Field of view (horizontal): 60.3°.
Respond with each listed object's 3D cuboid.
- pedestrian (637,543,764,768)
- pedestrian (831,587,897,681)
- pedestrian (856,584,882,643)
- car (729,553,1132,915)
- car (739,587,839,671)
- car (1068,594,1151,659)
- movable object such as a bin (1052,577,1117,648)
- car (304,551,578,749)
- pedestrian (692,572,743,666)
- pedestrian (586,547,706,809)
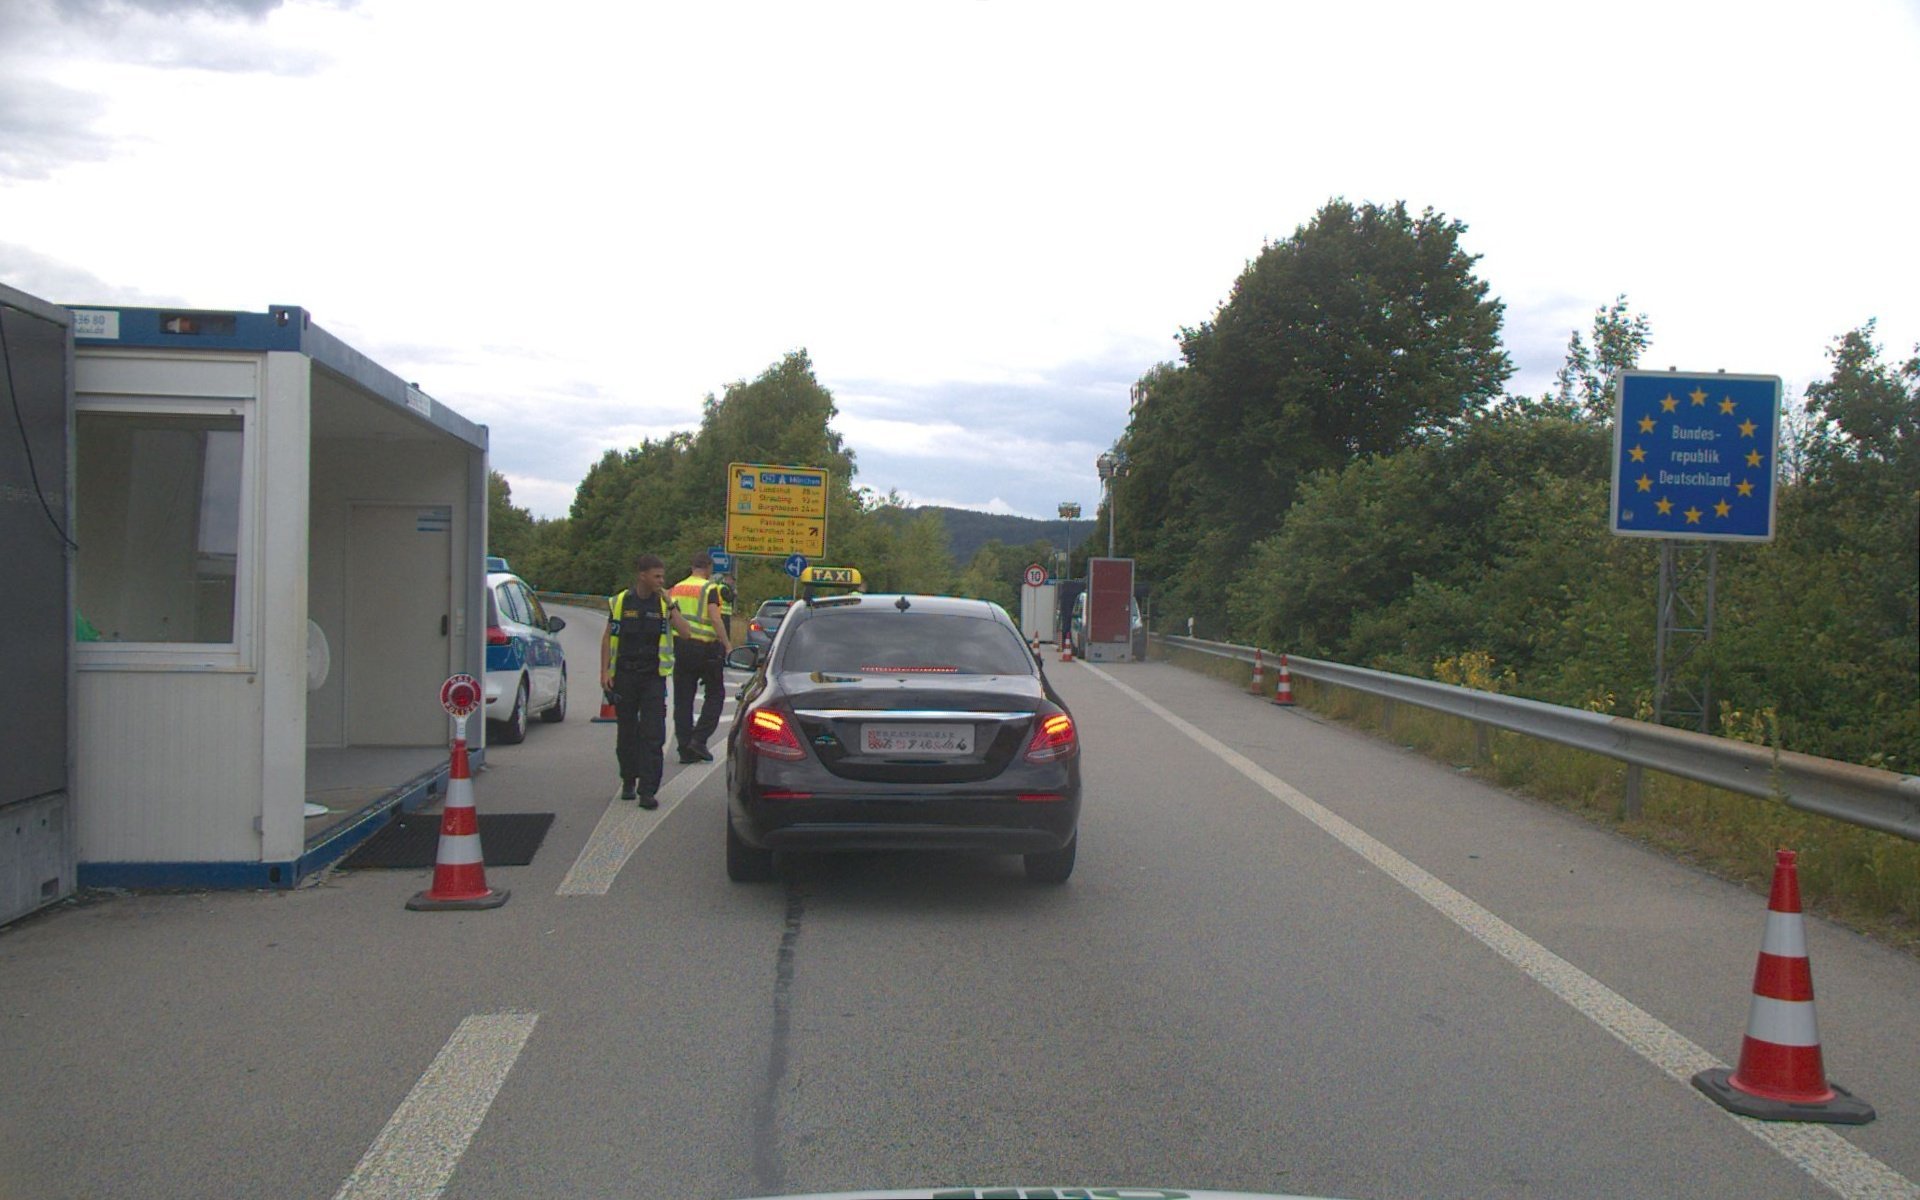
[{"bbox_3d":[-2.219,0.457,14.213,0.795,1.862,0.810,0,0,15],"label":"pedestrian"},{"bbox_3d":[-1.801,0.632,31.017,0.900,1.727,0.903,1,-1,-33],"label":"pedestrian"},{"bbox_3d":[-3.089,0.448,56.184,0.650,1.995,0.760,0,0,14],"label":"pedestrian"},{"bbox_3d":[-0.341,0.602,9.689,1.819,1.623,4.370,1,0,-6],"label":"car"},{"bbox_3d":[-3.322,0.527,32.820,1.819,1.524,4.253,1,0,-4],"label":"car"},{"bbox_3d":[4.277,0.726,48.012,1.877,1.707,5.083,3,0,0],"label":"car"},{"bbox_3d":[4.237,0.399,56.856,1.952,2.320,4.168,1,0,1],"label":"movable object such as a bin"},{"bbox_3d":[-5.146,0.447,16.941,1.832,1.774,4.004,1,0,-5],"label":"car"},{"bbox_3d":[-4.742,0.370,32.409,0.893,1.800,0.911,1,0,-4],"label":"pedestrian"},{"bbox_3d":[-2.169,0.522,11.505,0.745,1.748,0.817,0,0,-7],"label":"pedestrian"}]
